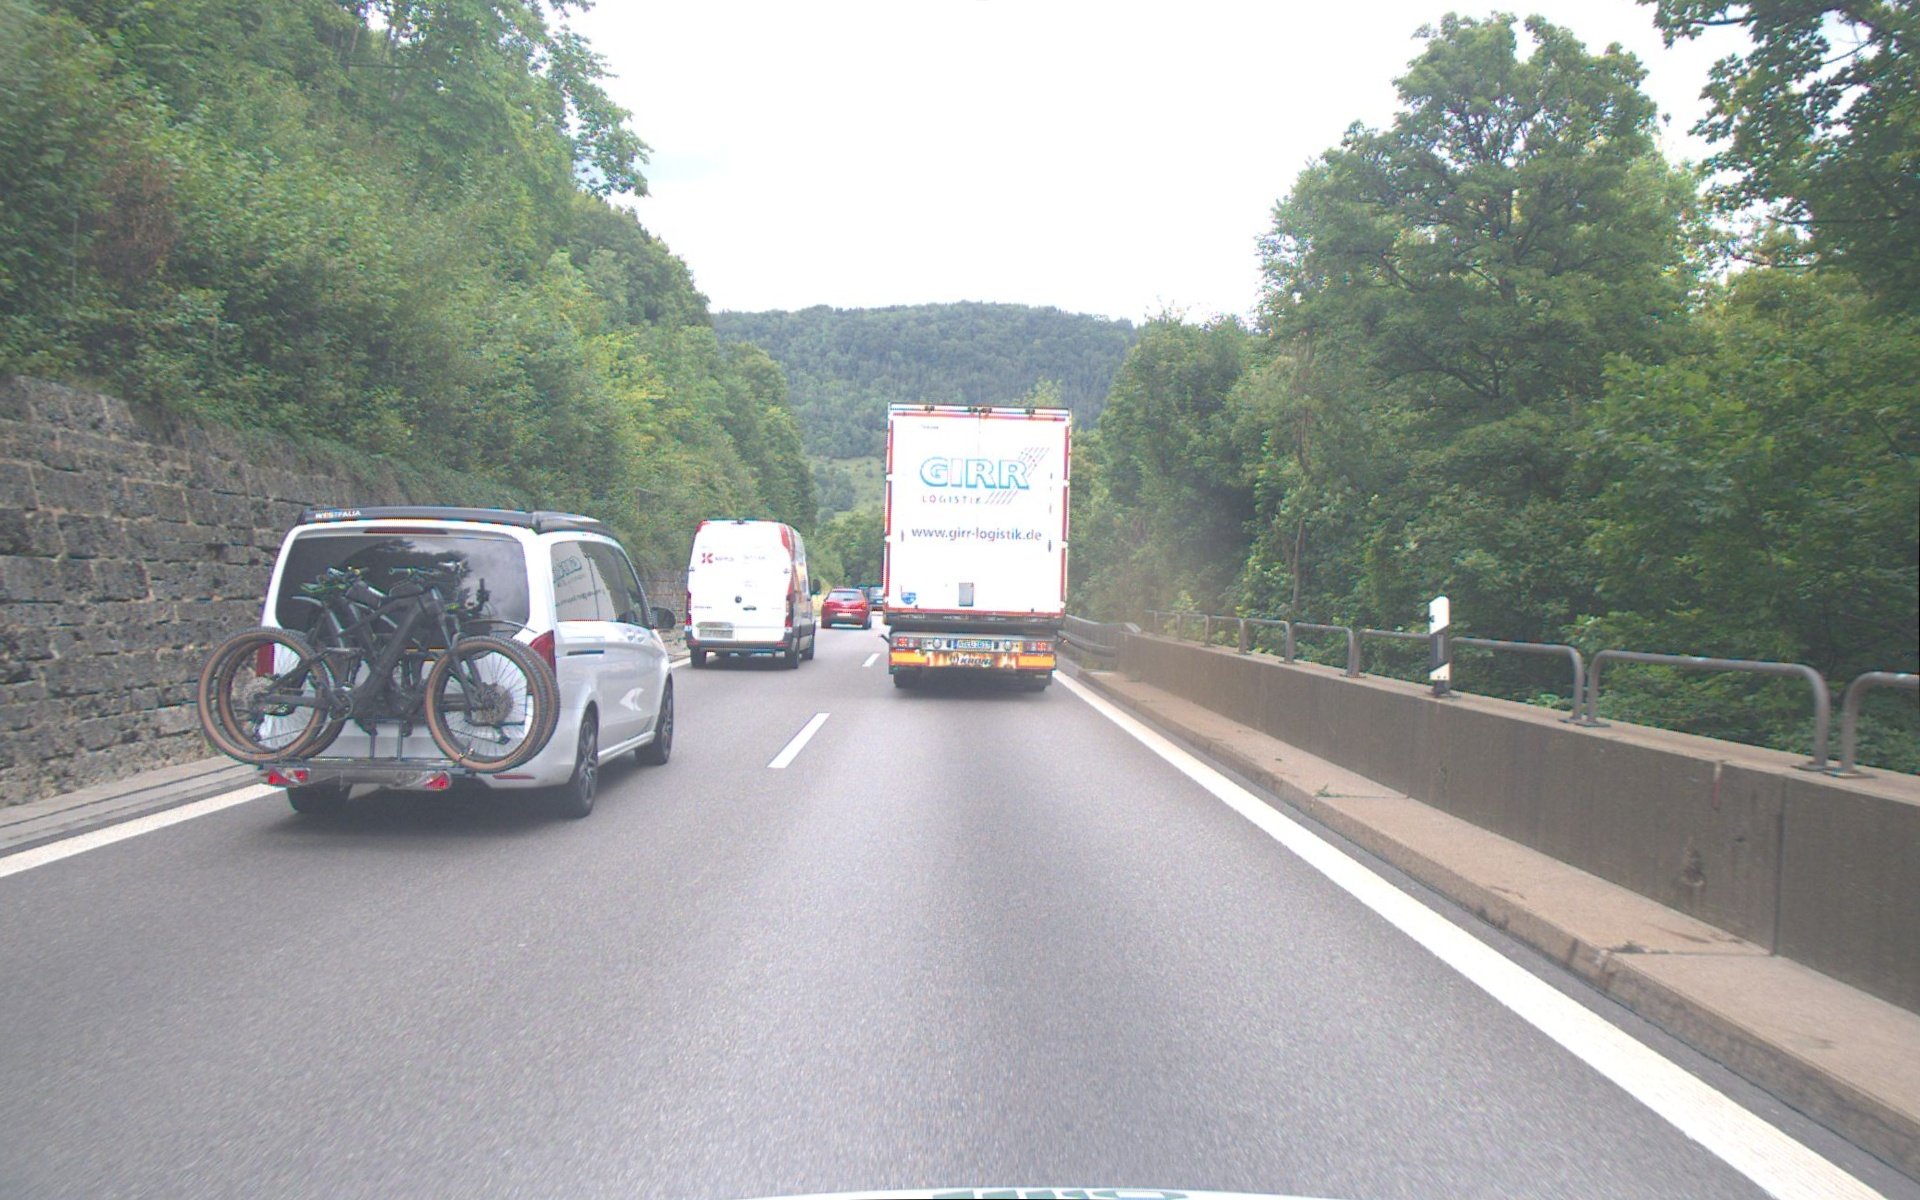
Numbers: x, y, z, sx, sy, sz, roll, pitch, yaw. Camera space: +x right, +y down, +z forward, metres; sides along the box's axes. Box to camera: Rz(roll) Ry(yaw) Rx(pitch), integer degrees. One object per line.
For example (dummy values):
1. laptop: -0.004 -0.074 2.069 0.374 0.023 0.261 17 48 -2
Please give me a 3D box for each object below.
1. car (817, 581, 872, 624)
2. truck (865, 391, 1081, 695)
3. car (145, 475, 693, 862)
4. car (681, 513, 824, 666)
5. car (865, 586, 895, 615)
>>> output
1. car: -4.195 0.091 60.689 1.730 1.485 4.410 0 0 -1
2. truck: 0.163 -0.777 26.566 2.849 4.030 9.278 0 0 0
3. car: -3.322 0.334 11.735 1.953 1.987 6.146 1 0 -1
4. car: -3.833 -0.177 31.626 1.985 2.630 6.274 0 0 -1
5. car: -4.741 0.010 97.894 1.635 1.667 4.067 0 0 -1
